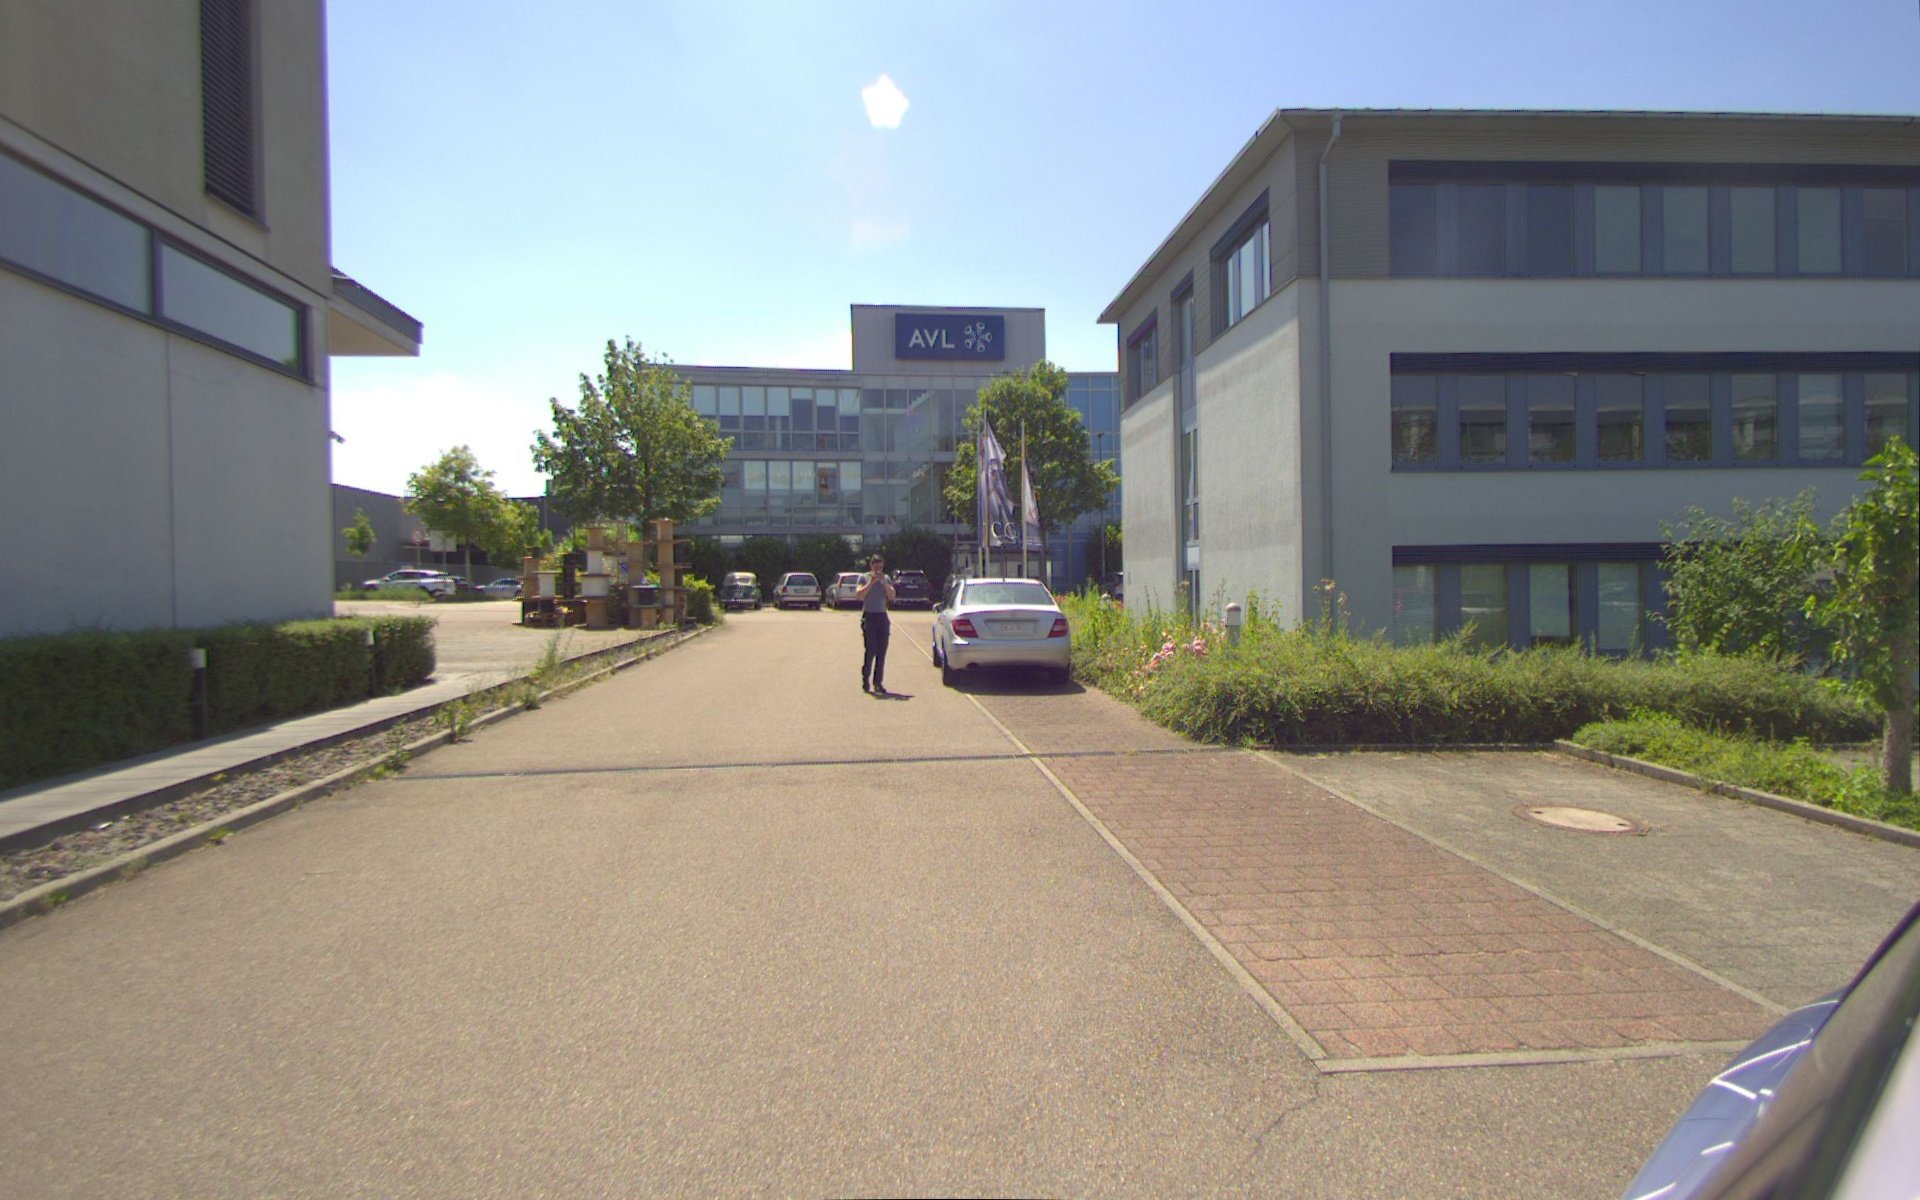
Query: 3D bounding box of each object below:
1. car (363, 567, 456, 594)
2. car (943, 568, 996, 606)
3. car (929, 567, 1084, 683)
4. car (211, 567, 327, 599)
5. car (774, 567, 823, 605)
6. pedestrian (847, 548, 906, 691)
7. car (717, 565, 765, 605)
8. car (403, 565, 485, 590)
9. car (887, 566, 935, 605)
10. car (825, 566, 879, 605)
[{"bbox_3d":[-30.635,-1.075,56.402,4.371,1.433,1.746,0,0,7],"label":"car"},{"bbox_3d":[0.350,-0.539,42.830,1.714,1.538,4.005,0,1,-7],"label":"car"},{"bbox_3d":[0.537,0.295,14.646,1.695,1.454,3.721,0,1,-6],"label":"car"},{"bbox_3d":[-31.801,-0.789,46.601,4.373,1.433,1.746,0,0,8],"label":"car"},{"bbox_3d":[-6.658,-0.572,41.466,1.639,1.459,4.008,0,1,-14],"label":"car"},{"bbox_3d":[-1.084,0.238,13.052,0.606,1.779,0.790,0,0,-16],"label":"pedestrian"},{"bbox_3d":[-8.833,-0.602,40.990,1.713,1.538,4.007,0,1,-10],"label":"car"},{"bbox_3d":[-30.204,-1.317,59.290,3.996,1.433,1.746,0,0,7],"label":"car"},{"bbox_3d":[-2.093,-0.598,42.319,1.714,1.538,4.005,0,1,-7],"label":"car"},{"bbox_3d":[-4.566,-0.604,42.318,1.713,1.538,4.008,0,1,-14],"label":"car"}]
